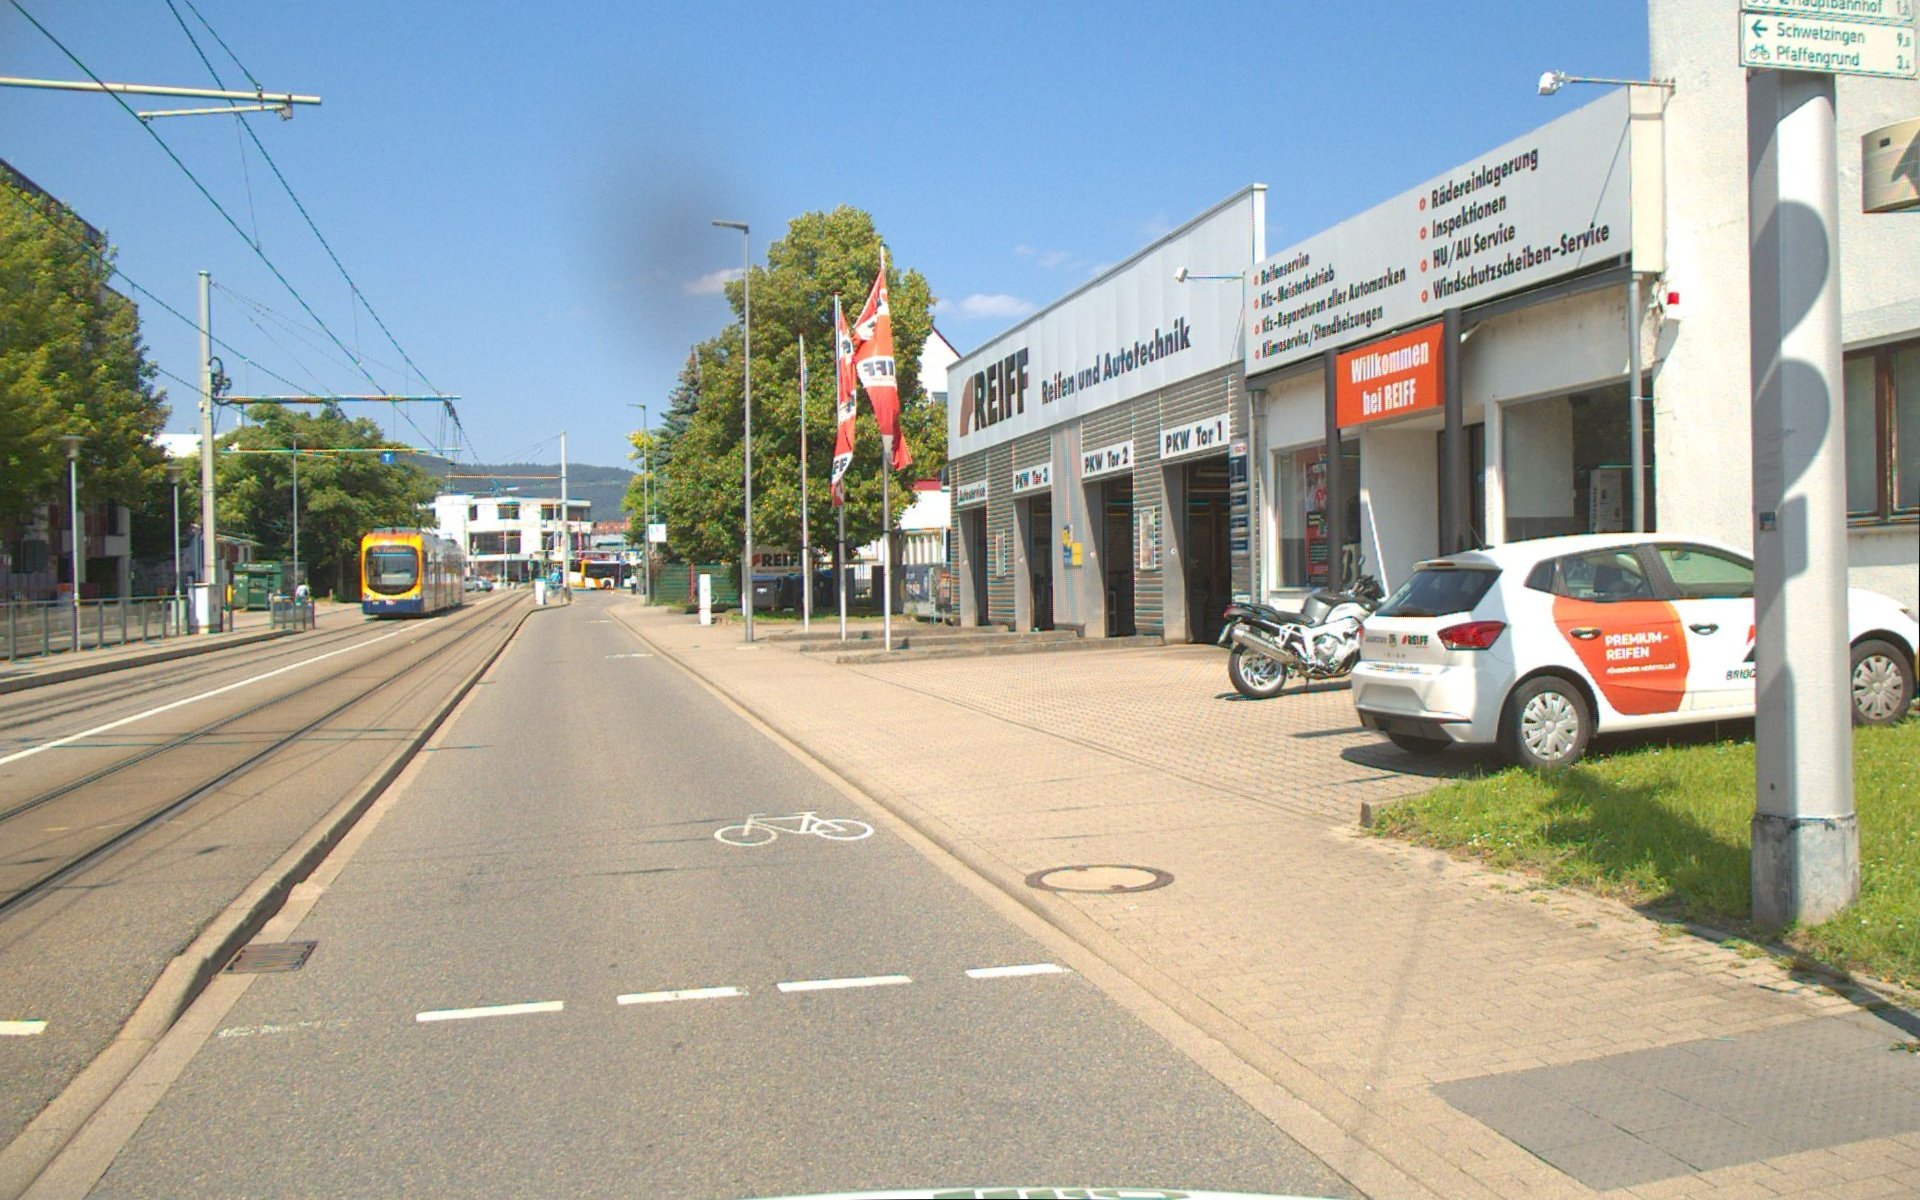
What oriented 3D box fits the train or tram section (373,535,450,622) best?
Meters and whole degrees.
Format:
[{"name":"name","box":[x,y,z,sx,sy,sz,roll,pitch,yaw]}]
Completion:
[{"name":"train or tram section","box":[-23.285,-0.916,70.441,2.567,3.507,5.822,-2,1,-14]}]

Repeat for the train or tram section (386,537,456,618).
[{"name":"train or tram section","box":[-24.597,-1.018,75.694,2.567,3.507,4.992,-2,1,-14]}]

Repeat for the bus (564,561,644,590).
[{"name":"bus","box":[-37.521,-2.592,174.488,2.397,2.930,8.751,0,1,38]}]

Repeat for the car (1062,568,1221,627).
[{"name":"car","box":[4.676,-0.079,42.639,3.704,1.400,1.716,-2,1,-19]}]

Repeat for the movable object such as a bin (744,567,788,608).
[{"name":"movable object such as a bin","box":[-7.129,-0.442,60.906,1.354,1.455,0.991,-1,-1,11]}]

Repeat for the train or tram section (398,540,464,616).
[{"name":"train or tram section","box":[-26.029,-1.089,81.589,2.537,3.507,7.111,-2,1,-14]}]

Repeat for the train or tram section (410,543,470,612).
[{"name":"train or tram section","box":[-27.632,-1.203,88.120,2.537,3.507,6.339,-2,1,-14]}]

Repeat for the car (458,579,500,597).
[{"name":"car","box":[-49.302,-1.256,169.679,3.906,1.780,1.775,-1,1,24]}]

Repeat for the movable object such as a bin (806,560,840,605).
[{"name":"movable object such as a bin","box":[-4.881,-0.622,58.860,0.962,1.574,1.314,-1,-1,-17]}]

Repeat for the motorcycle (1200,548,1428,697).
[{"name":"motorcycle","box":[3.657,0.214,17.099,2.148,1.331,0.728,-5,1,-16]}]

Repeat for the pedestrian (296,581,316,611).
[{"name":"pedestrian","box":[-34.193,-0.209,86.469,0.820,1.564,0.835,-2,1,-14]}]

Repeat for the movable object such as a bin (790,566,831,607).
[{"name":"movable object such as a bin","box":[-5.491,-0.477,60.654,1.288,1.455,0.885,-1,-1,11]}]

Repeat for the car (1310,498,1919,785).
[{"name":"car","box":[4.695,0.207,11.535,3.923,1.487,1.882,-5,2,-16]}]

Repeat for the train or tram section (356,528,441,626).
[{"name":"train or tram section","box":[-21.922,-0.913,64.819,2.567,3.594,5.721,-2,1,-14]}]

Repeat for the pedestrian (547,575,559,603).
[{"name":"pedestrian","box":[-26.317,-0.727,106.912,0.731,1.771,0.725,-2,1,-14]}]
